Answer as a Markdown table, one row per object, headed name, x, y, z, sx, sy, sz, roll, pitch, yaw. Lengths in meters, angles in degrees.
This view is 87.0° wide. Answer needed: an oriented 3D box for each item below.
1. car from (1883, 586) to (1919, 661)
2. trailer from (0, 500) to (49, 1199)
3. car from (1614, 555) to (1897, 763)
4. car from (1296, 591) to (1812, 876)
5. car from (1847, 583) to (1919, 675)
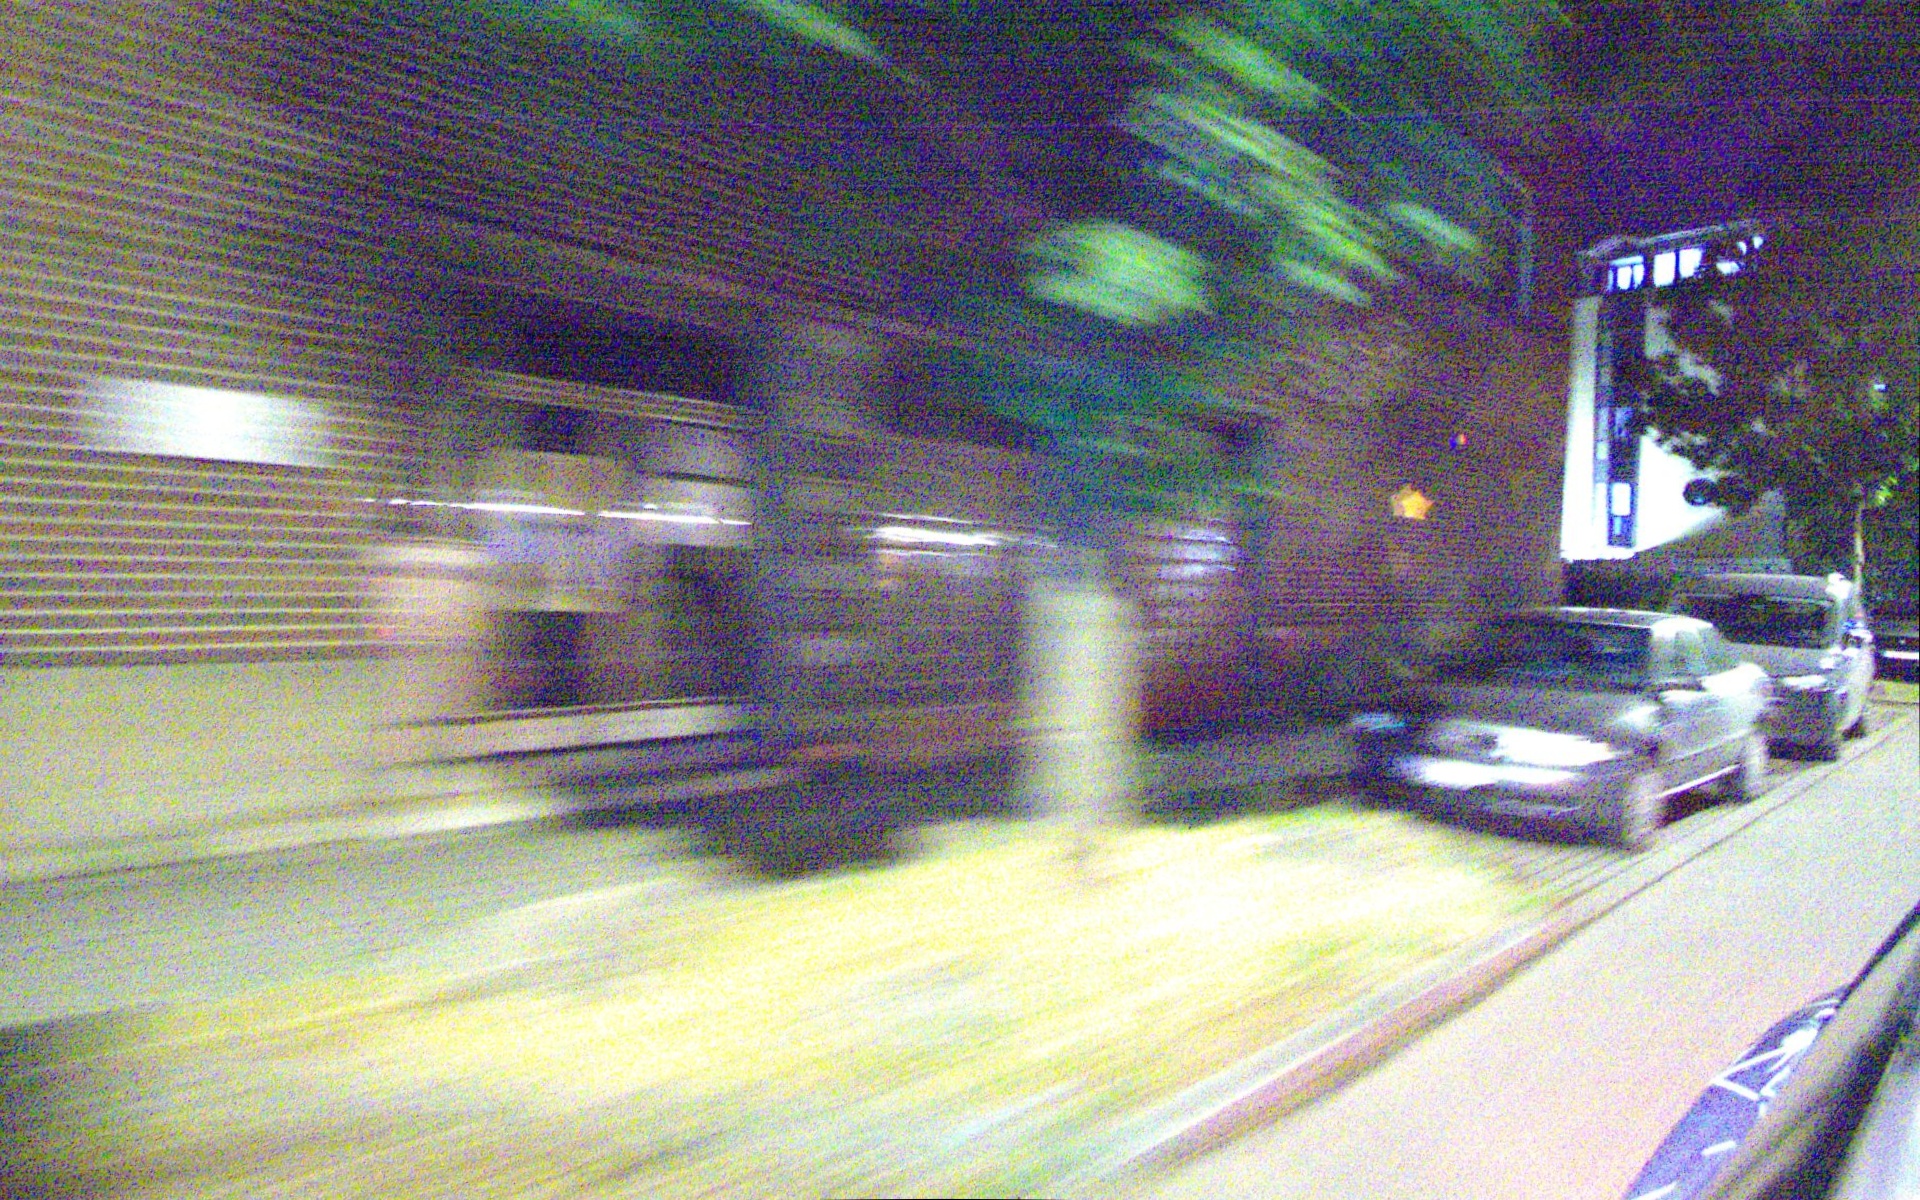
| name | x | y | z | sx | sy | sz | roll | pitch | yaw |
| --- | --- | --- | --- | --- | --- | --- | --- | --- | --- |
| car | 23.834 | 0.572 | 24.394 | 4.025 | 1.685 | 1.932 | 0 | 3 | -43 |
| trailer | -3.263 | 0.563 | 0.761 | 3.663 | 1.514 | 1.605 | 0 | 1 | -36 |
| car | 8.852 | 0.496 | 11.110 | 4.349 | 1.794 | 1.778 | 0 | 3 | -44 |
| car | 4.445 | 0.688 | 7.278 | 4.343 | 1.375 | 1.780 | 0 | 3 | -40 |
| car | 19.385 | 0.568 | 20.307 | 3.709 | 1.685 | 1.932 | 0 | 3 | -43 |
